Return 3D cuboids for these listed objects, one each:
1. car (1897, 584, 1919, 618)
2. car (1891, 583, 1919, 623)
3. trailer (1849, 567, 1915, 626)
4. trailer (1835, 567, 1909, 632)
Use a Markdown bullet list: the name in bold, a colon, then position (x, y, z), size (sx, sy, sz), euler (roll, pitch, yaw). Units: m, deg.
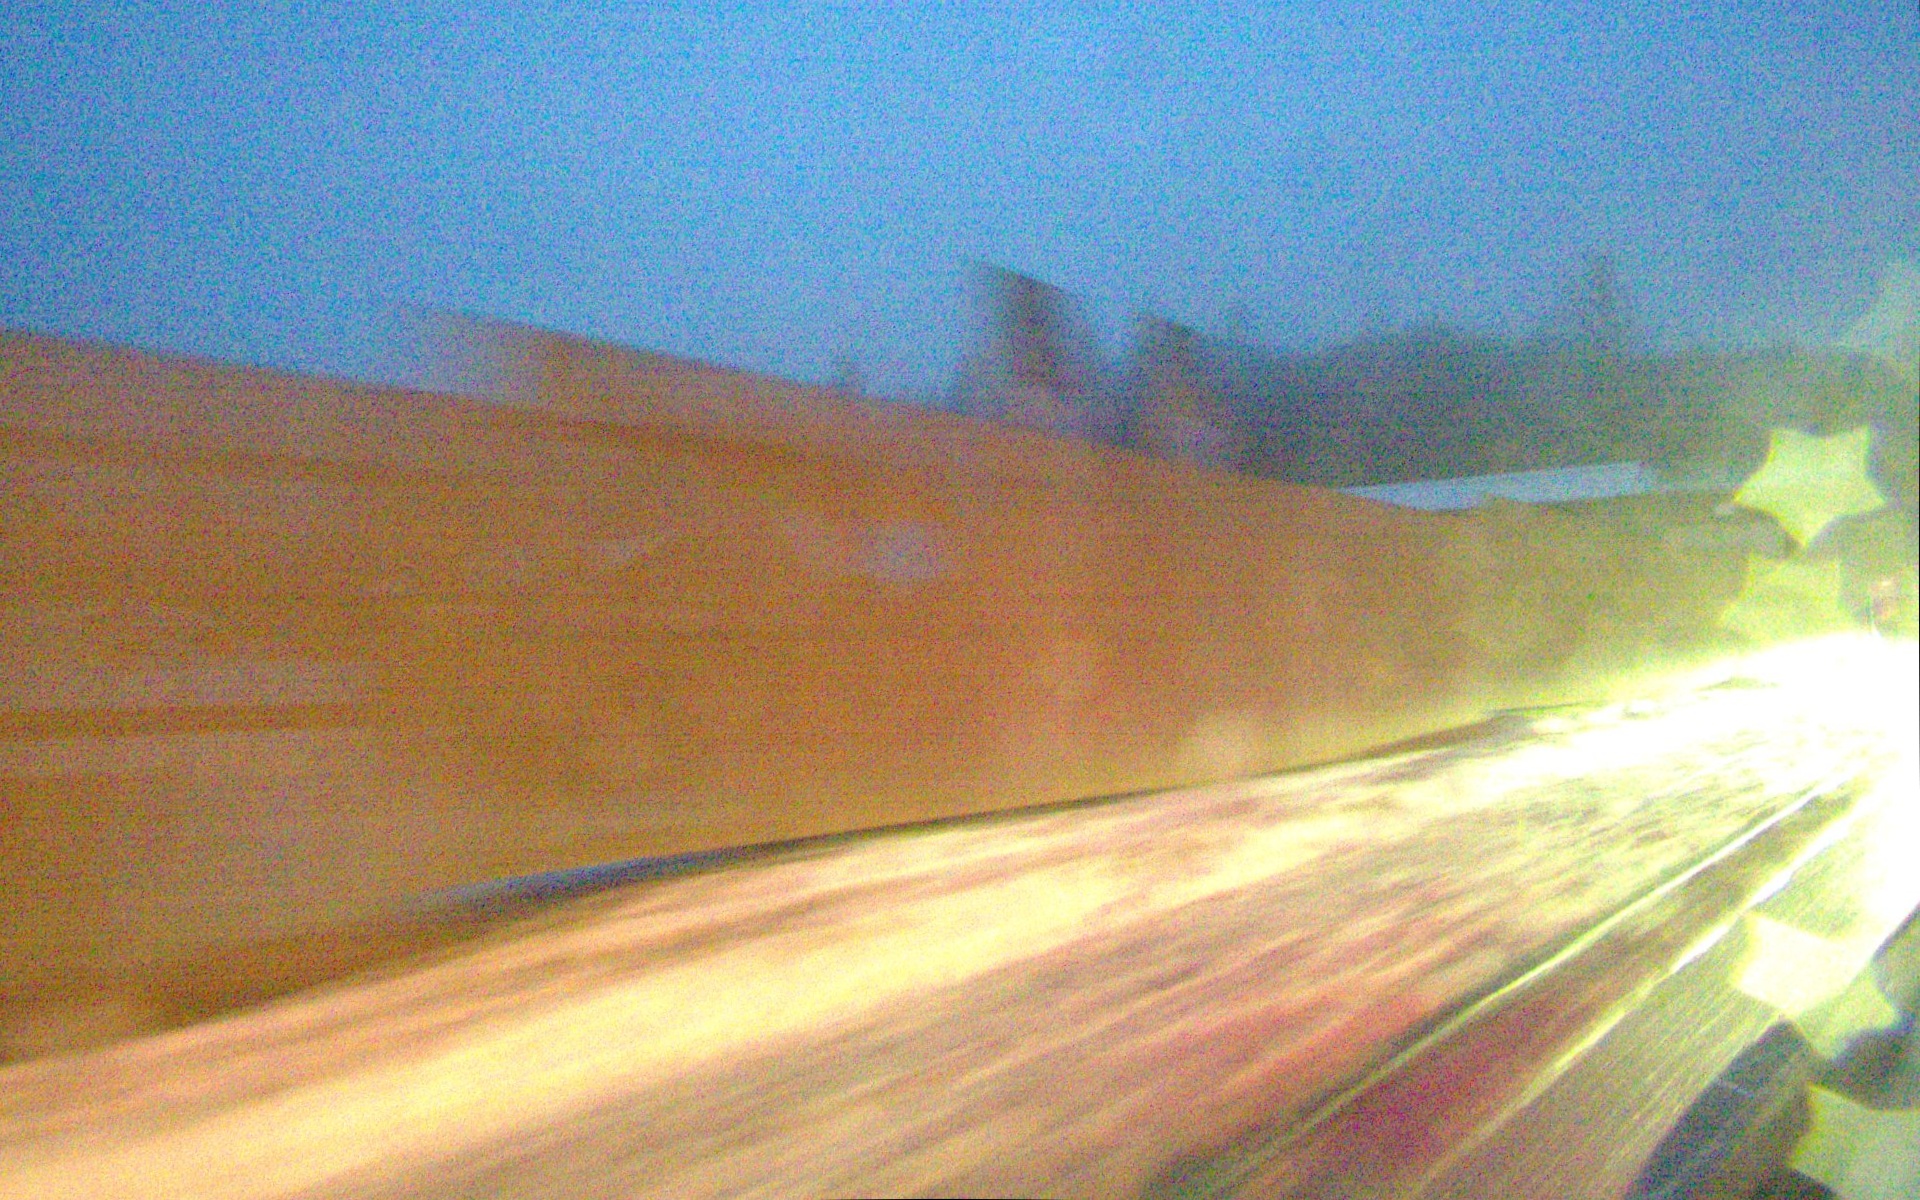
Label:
- **car**: position (55.538, 0.026, 58.409), size (4.088, 1.833, 1.878), euler (-2, -1, -45)
- **car**: position (52.227, 0.132, 55.308), size (1.877, 2.066, 4.323), euler (-3, -1, 43)
- **trailer**: position (39.912, -0.165, 43.772), size (4.356, 2.383, 1.607), euler (-1, -3, -43)
- **trailer**: position (36.282, -0.048, 40.215), size (4.574, 2.395, 1.631), euler (-1, -3, -43)
